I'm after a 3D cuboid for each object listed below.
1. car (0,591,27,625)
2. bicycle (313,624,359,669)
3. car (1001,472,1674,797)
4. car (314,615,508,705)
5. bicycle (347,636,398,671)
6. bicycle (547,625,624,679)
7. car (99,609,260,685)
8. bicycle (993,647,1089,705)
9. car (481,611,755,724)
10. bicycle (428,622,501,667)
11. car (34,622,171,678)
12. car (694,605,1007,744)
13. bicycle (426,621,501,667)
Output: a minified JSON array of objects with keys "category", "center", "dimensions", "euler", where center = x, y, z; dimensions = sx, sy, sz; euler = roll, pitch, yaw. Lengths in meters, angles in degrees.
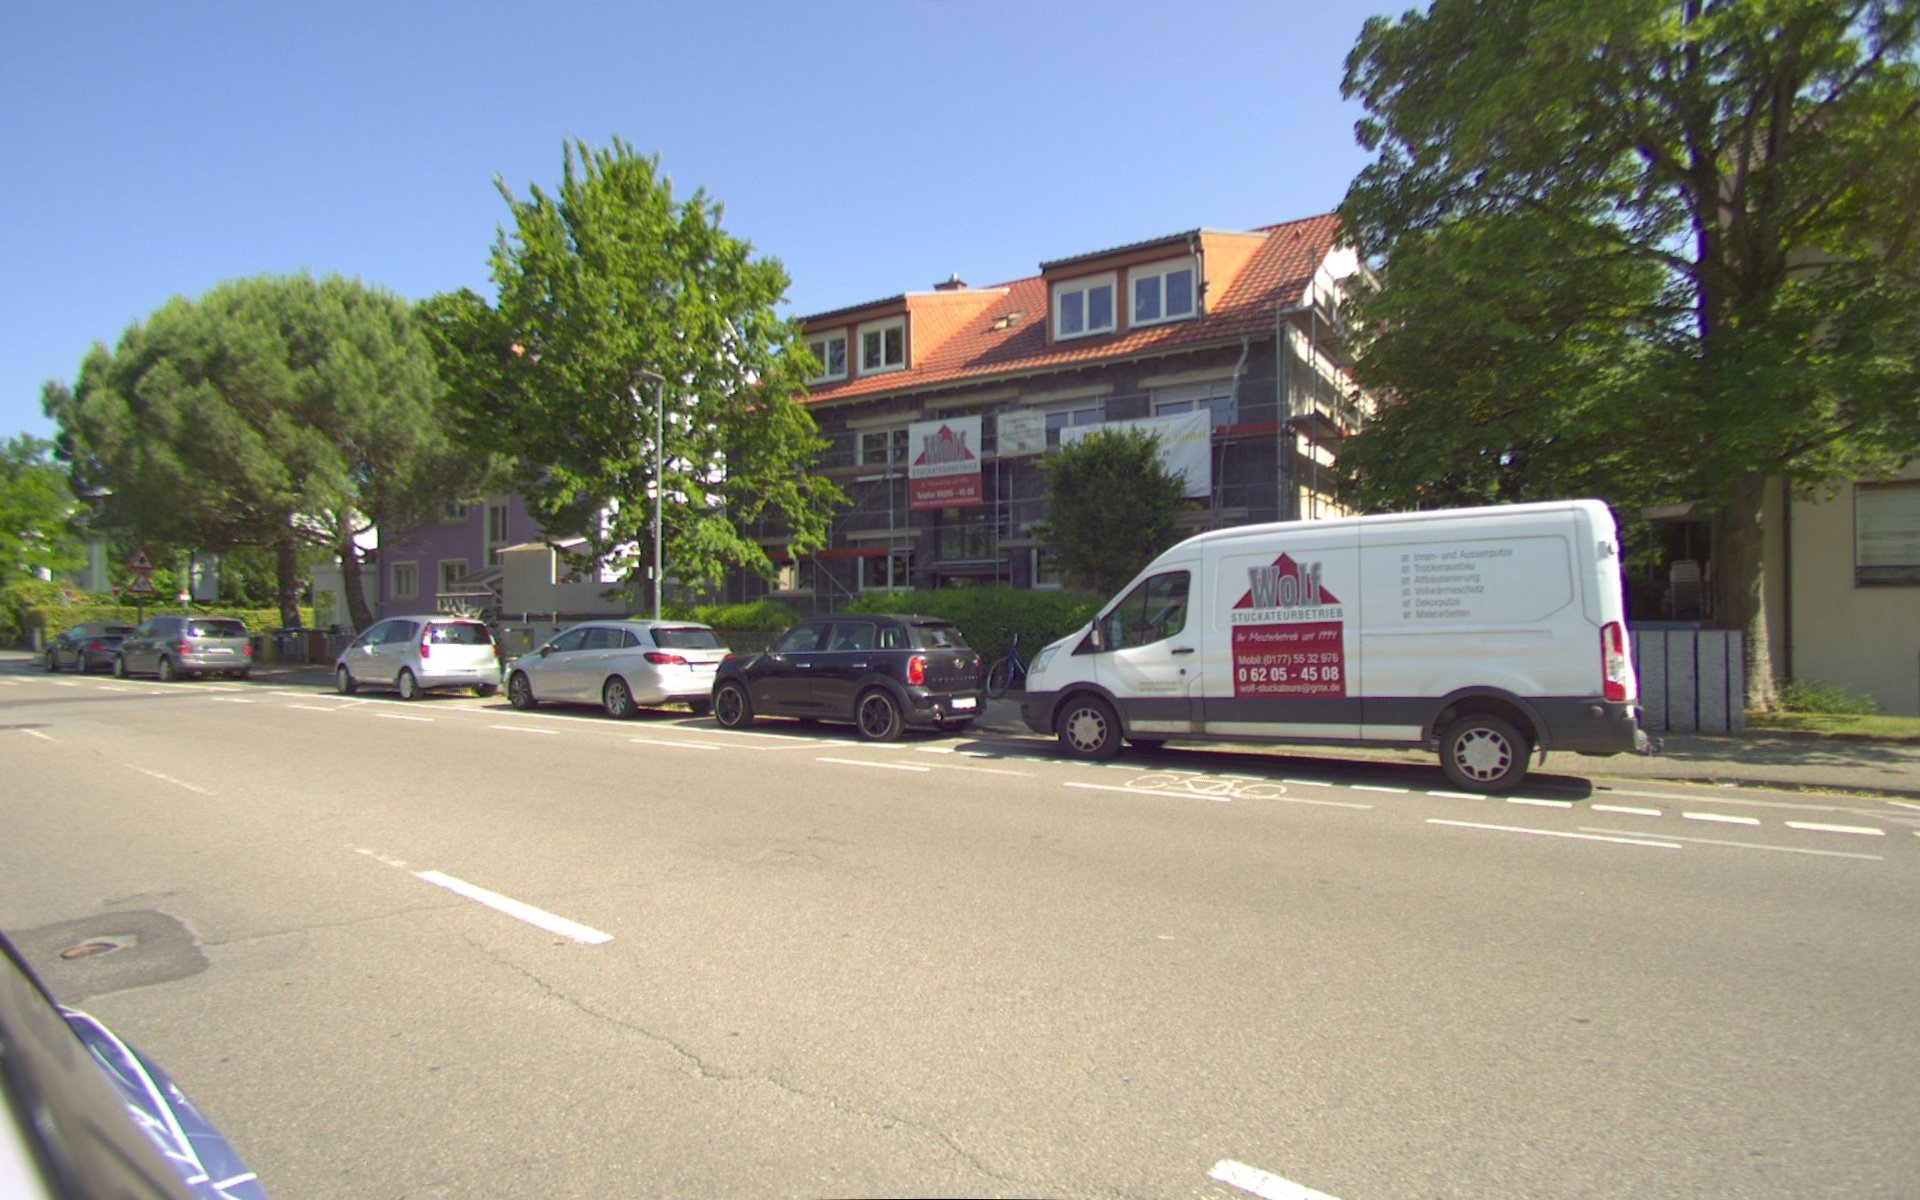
[{"category":"car","center":[-53.834,0.405,55.389],"dimensions":[2.001,1.830,3.942],"euler":[-2,-3,44]},{"category":"bicycle","center":[-18.255,1.353,29.599],"dimensions":[1.910,1.276,0.453],"euler":[-1,-2,36]},{"category":"car","center":[3.497,0.354,10.285],"dimensions":[5.932,2.516,2.073],"euler":[-1,-3,32]},{"category":"car","center":[-10.706,1.126,19.658],"dimensions":[3.991,1.571,1.705],"euler":[-2,-3,35]},{"category":"bicycle","center":[-16.524,1.485,28.444],"dimensions":[1.909,0.961,0.454],"euler":[-1,-2,34]},{"category":"bicycle","center":[-8.499,1.152,22.918],"dimensions":[2.235,1.148,0.508],"euler":[-1,-1,37]},{"category":"car","center":[-19.783,1.179,25.608],"dimensions":[4.572,1.778,1.826],"euler":[-1,-3,34]},{"category":"bicycle","center":[1.273,1.191,16.043],"dimensions":[1.488,0.870,0.400],"euler":[-1,-1,29]},{"category":"car","center":[-5.526,1.018,16.113],"dimensions":[4.661,1.571,1.705],"euler":[-2,-3,35]},{"category":"bicycle","center":[-15.728,1.406,32.168],"dimensions":[0.501,1.394,2.156],"euler":[-1,-3,30]},{"category":"car","center":[-24.292,1.397,28.647],"dimensions":[4.182,1.468,1.826],"euler":[-1,-3,34]},{"category":"car","center":[-1.514,0.921,13.382],"dimensions":[3.991,1.571,1.705],"euler":[-2,-3,35]},{"category":"bicycle","center":[-15.444,1.366,31.563],"dimensions":[0.501,1.394,2.156],"euler":[-1,-3,30]}]
